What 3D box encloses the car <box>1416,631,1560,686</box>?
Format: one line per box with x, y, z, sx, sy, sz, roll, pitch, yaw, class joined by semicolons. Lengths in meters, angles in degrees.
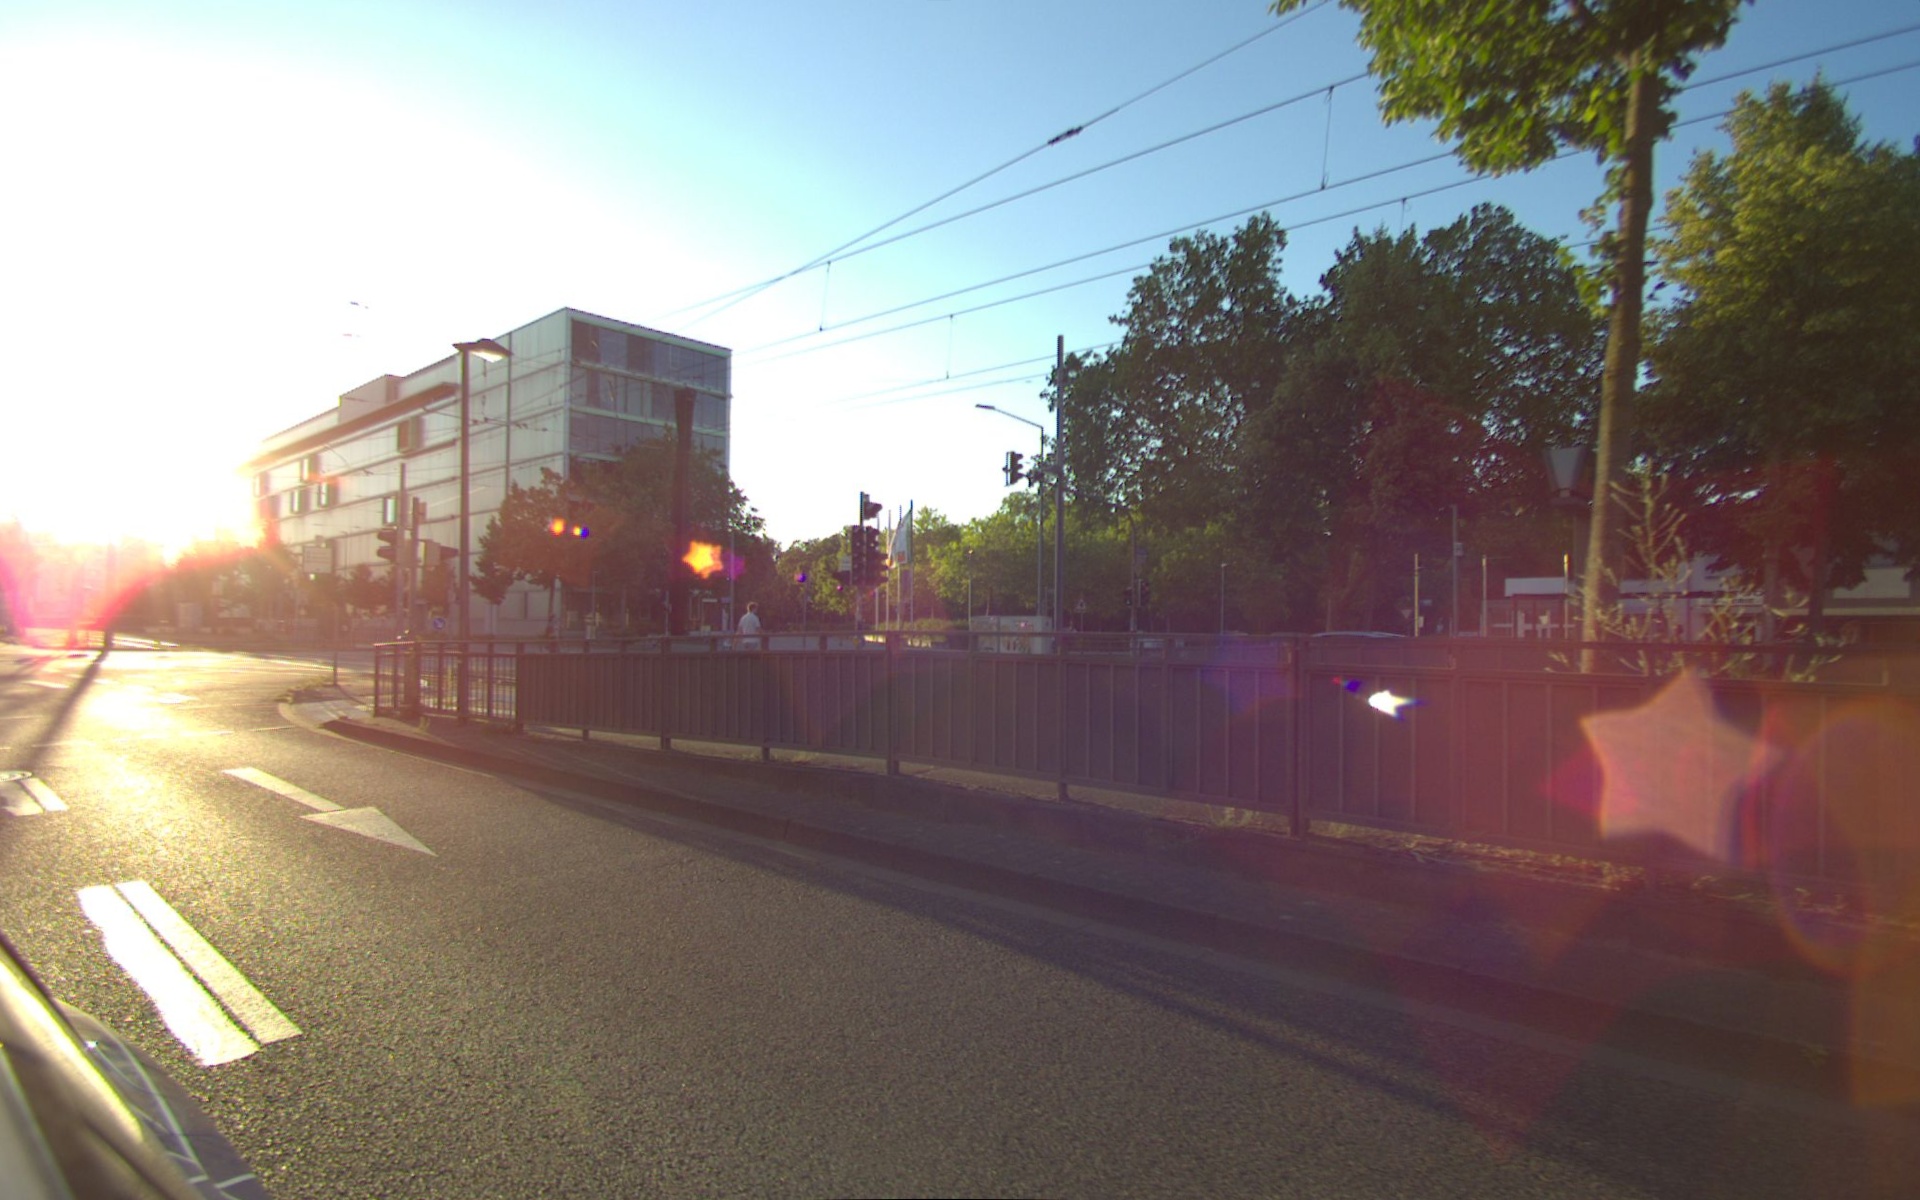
19.254;2.099;37.024;1.970;1.860;4.247;3;-3;-44;car

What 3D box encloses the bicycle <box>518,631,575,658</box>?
-17.189;1.844;42.100;0.636;1.076;2.092;-1;-3;43;bicycle

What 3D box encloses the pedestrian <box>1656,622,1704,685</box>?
20.639;1.518;29.015;0.882;1.768;0.723;1;-2;-22;pedestrian

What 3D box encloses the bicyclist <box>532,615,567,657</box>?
-17.124;1.498;42.236;1.035;1.731;0.982;-1;-3;43;bicyclist

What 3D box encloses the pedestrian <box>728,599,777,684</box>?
-4.506;0.887;22.059;0.756;1.804;0.799;1;-1;11;pedestrian

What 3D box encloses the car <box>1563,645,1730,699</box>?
22.574;2.311;33.392;1.970;1.589;4.247;3;-3;-44;car

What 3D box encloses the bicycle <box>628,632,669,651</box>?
-18.831;2.520;61.228;0.701;1.144;2.360;-1;-2;40;bicycle

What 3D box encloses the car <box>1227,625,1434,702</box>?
9.227;1.513;25.413;4.545;1.741;1.837;-1;-2;40;car
